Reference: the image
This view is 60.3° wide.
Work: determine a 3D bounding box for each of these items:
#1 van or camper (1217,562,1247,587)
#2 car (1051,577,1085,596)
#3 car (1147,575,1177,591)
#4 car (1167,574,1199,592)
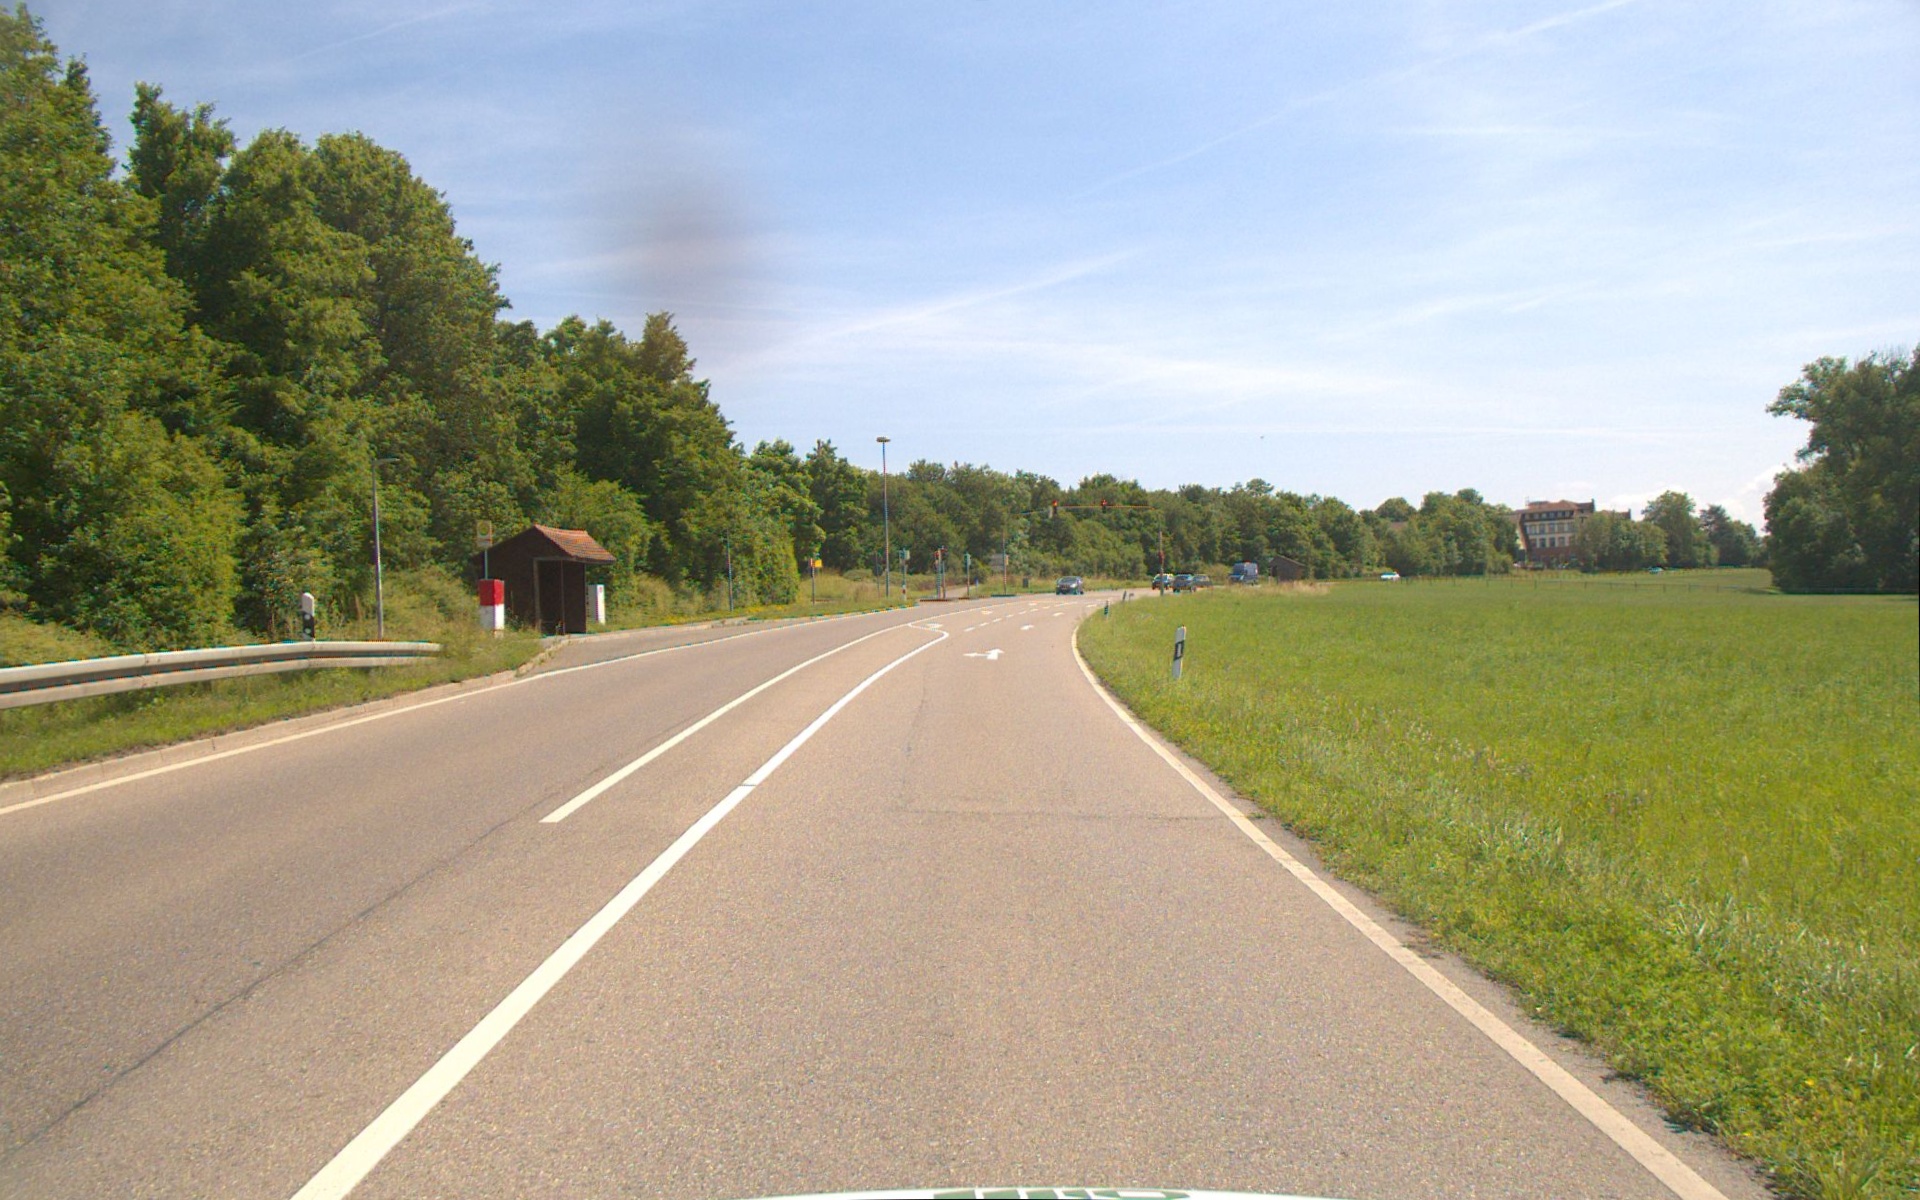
[{"bbox_3d":[34.033,-3.181,206.661,2.193,2.964,7.249,0,2,21],"label":"van or camper"},{"bbox_3d":[8.978,-1.118,137.285,1.754,1.500,4.312,0,0,20],"label":"car"},{"bbox_3d":[20.962,-1.768,171.791,1.935,1.589,4.186,0,0,25],"label":"car"},{"bbox_3d":[20.423,-1.563,151.360,1.953,1.601,4.000,0,0,21],"label":"car"}]
